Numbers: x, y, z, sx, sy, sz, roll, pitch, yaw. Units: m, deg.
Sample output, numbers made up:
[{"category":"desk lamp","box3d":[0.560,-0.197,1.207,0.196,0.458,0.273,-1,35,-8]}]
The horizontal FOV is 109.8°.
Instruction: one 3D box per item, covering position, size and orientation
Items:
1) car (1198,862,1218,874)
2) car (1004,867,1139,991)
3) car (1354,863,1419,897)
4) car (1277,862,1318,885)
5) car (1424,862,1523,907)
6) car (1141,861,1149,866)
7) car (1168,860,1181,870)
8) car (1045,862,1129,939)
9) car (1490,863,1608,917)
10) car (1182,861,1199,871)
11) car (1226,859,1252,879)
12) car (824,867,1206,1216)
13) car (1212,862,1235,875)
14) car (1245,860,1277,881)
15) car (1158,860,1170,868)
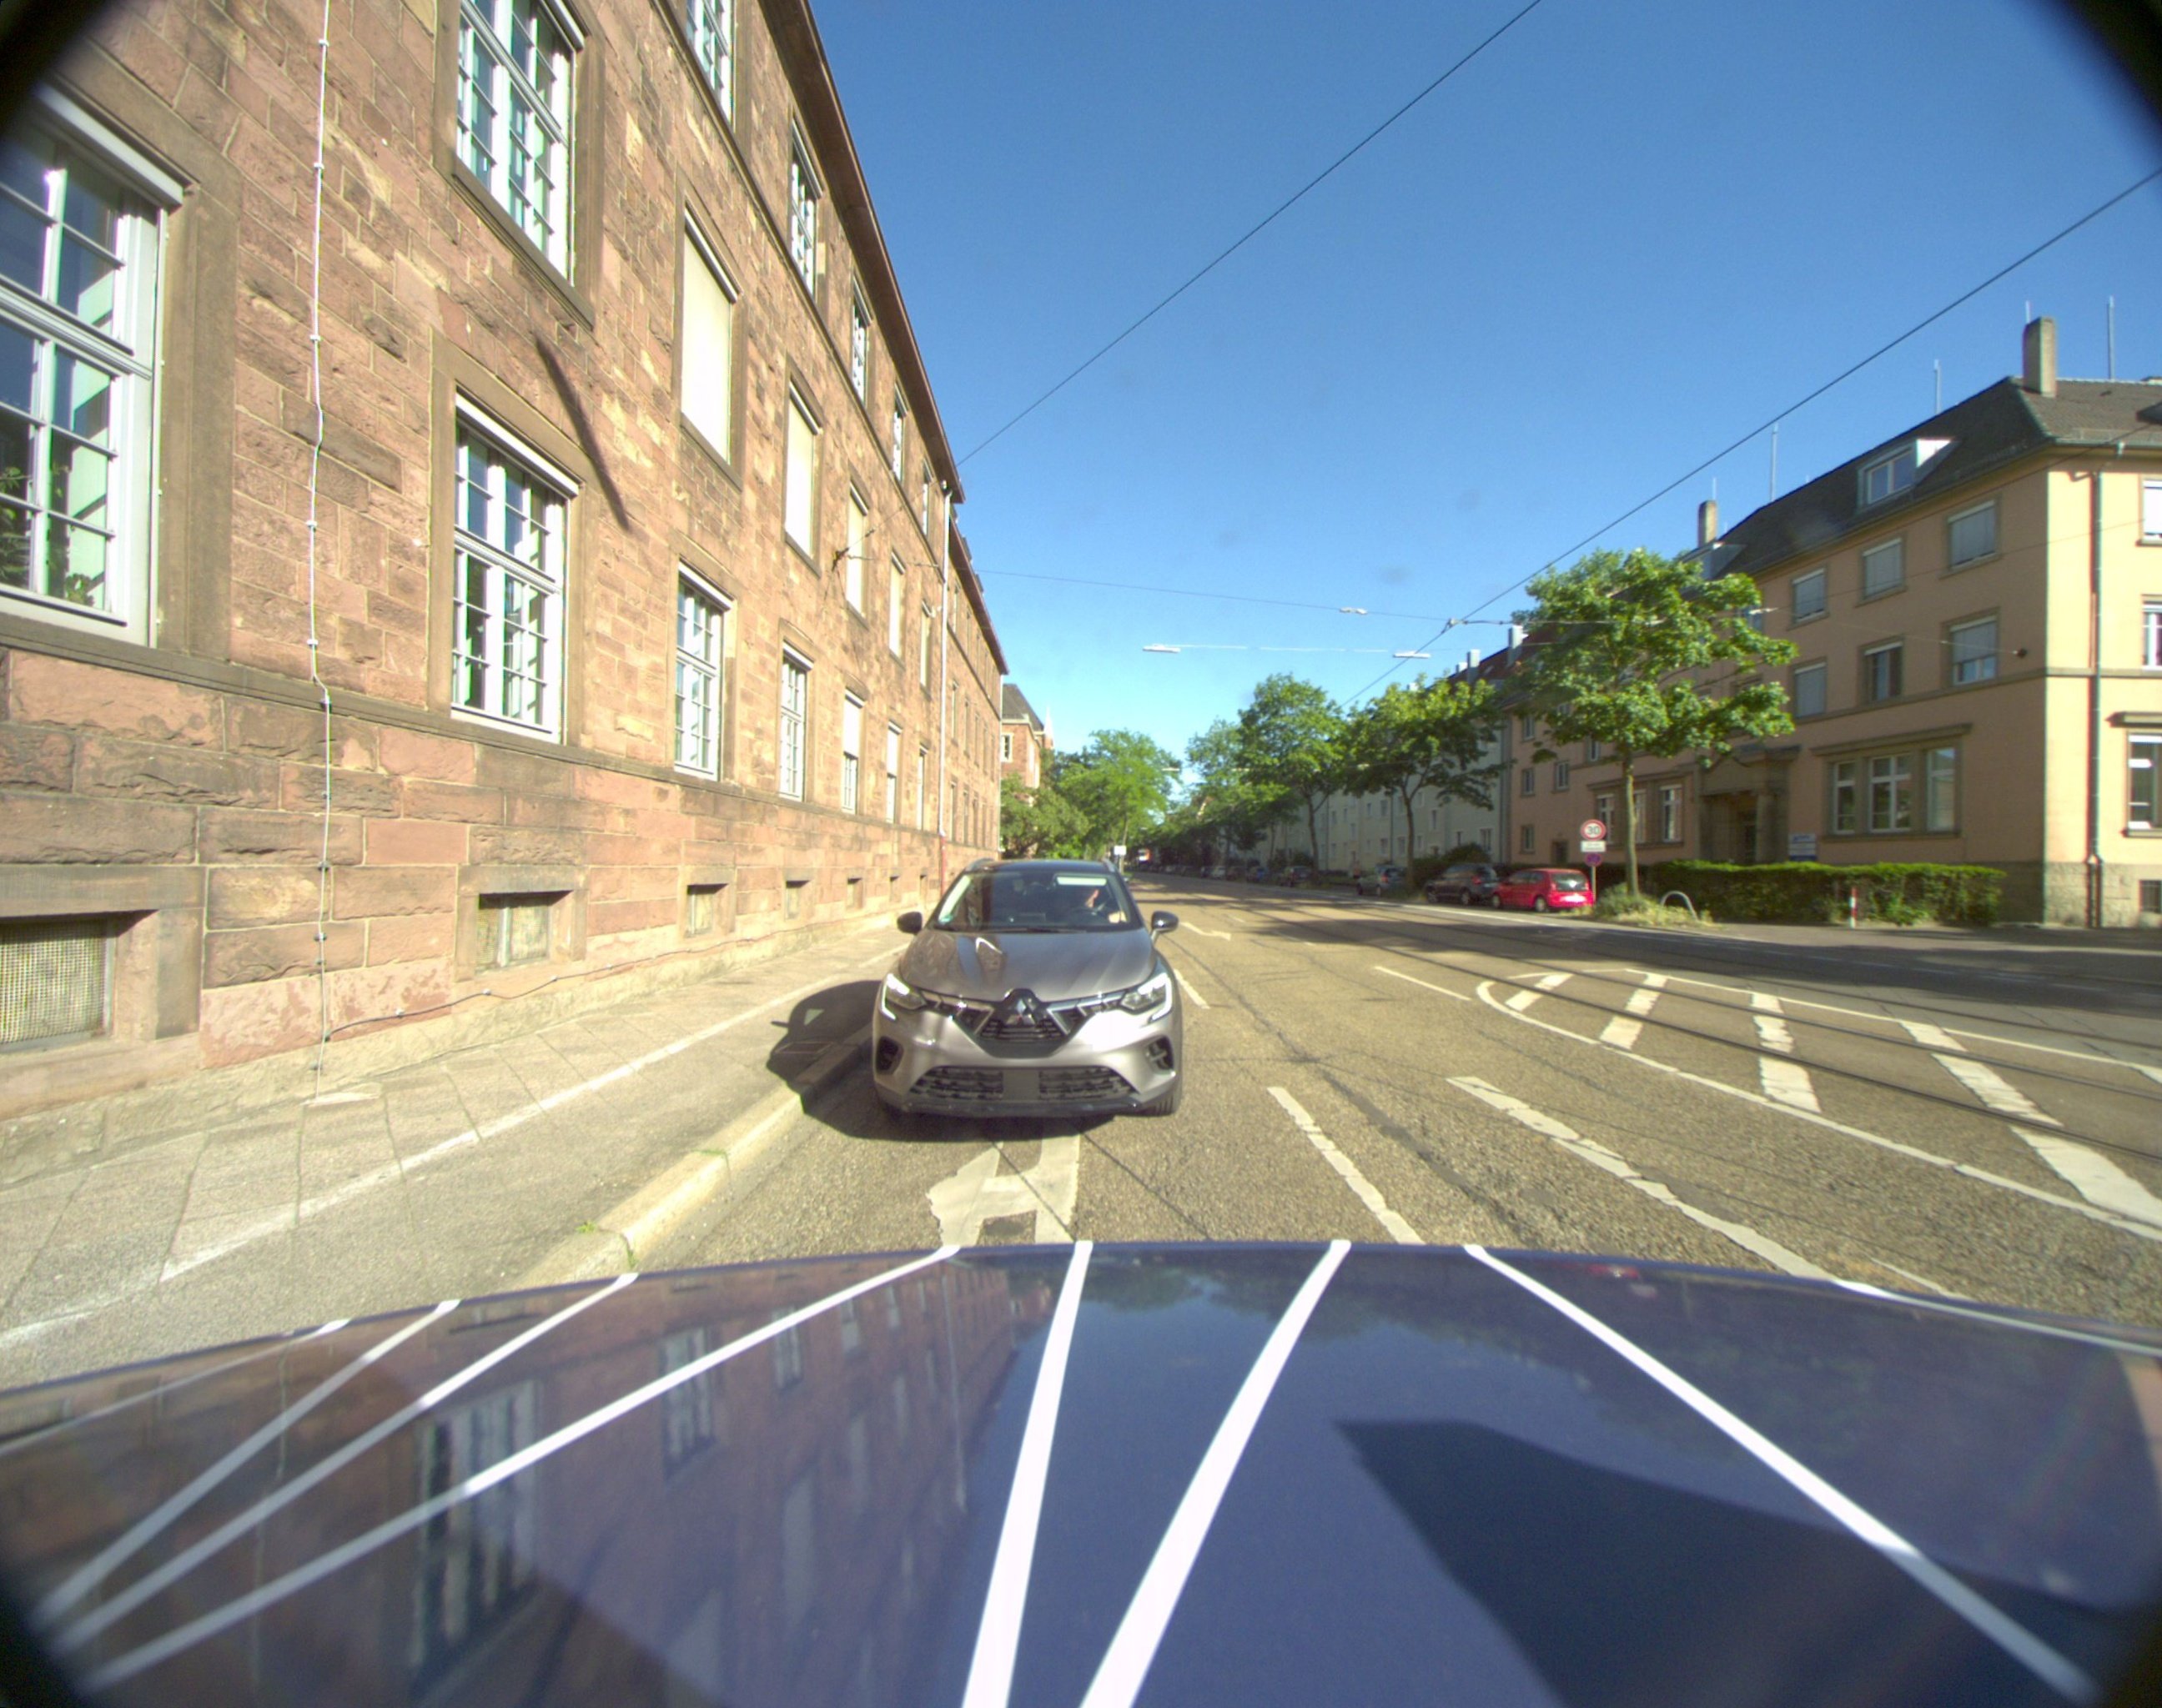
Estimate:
[{"category":"car","box3d":[15.857,1.752,94.863,1.816,1.411,3.630,1,0,-2]},{"category":"car","box3d":[-0.174,1.033,12.050,1.796,1.595,3.799,-1,0,-2]},{"category":"car","box3d":[15.740,1.296,39.363,1.816,1.648,3.877,1,0,1]},{"category":"car","box3d":[15.800,1.423,55.607,1.816,1.589,3.630,1,0,-2]},{"category":"car","box3d":[15.652,1.165,30.553,1.816,1.648,3.819,1,0,-3]},{"category":"car","box3d":[16.089,2.380,191.216,1.816,1.411,3.630,1,0,-2]},{"category":"car","box3d":[16.602,1.938,135.244,1.816,1.768,3.630,1,0,-2]},{"category":"car","box3d":[0.080,1.016,18.497,1.796,1.638,4.083,-1,0,-2]},{"category":"car","box3d":[15.862,1.161,25.944,1.816,1.696,3.374,1,0,-3]},{"category":"car","box3d":[16.050,1.740,111.811,1.816,1.411,3.630,1,0,-2]},{"category":"car","box3d":[15.911,1.525,76.577,1.816,1.929,3.630,1,0,-2]},{"category":"car","box3d":[-0.356,0.915,5.504,1.796,1.595,3.799,-1,0,-2]},{"category":"car","box3d":[16.041,1.664,85.936,1.816,1.411,3.630,1,0,-2]},{"category":"car","box3d":[15.982,1.468,67.500,1.816,1.814,3.795,1,0,-2]},{"category":"car","box3d":[15.992,1.847,146.881,1.816,1.514,3.630,1,0,-2]}]
